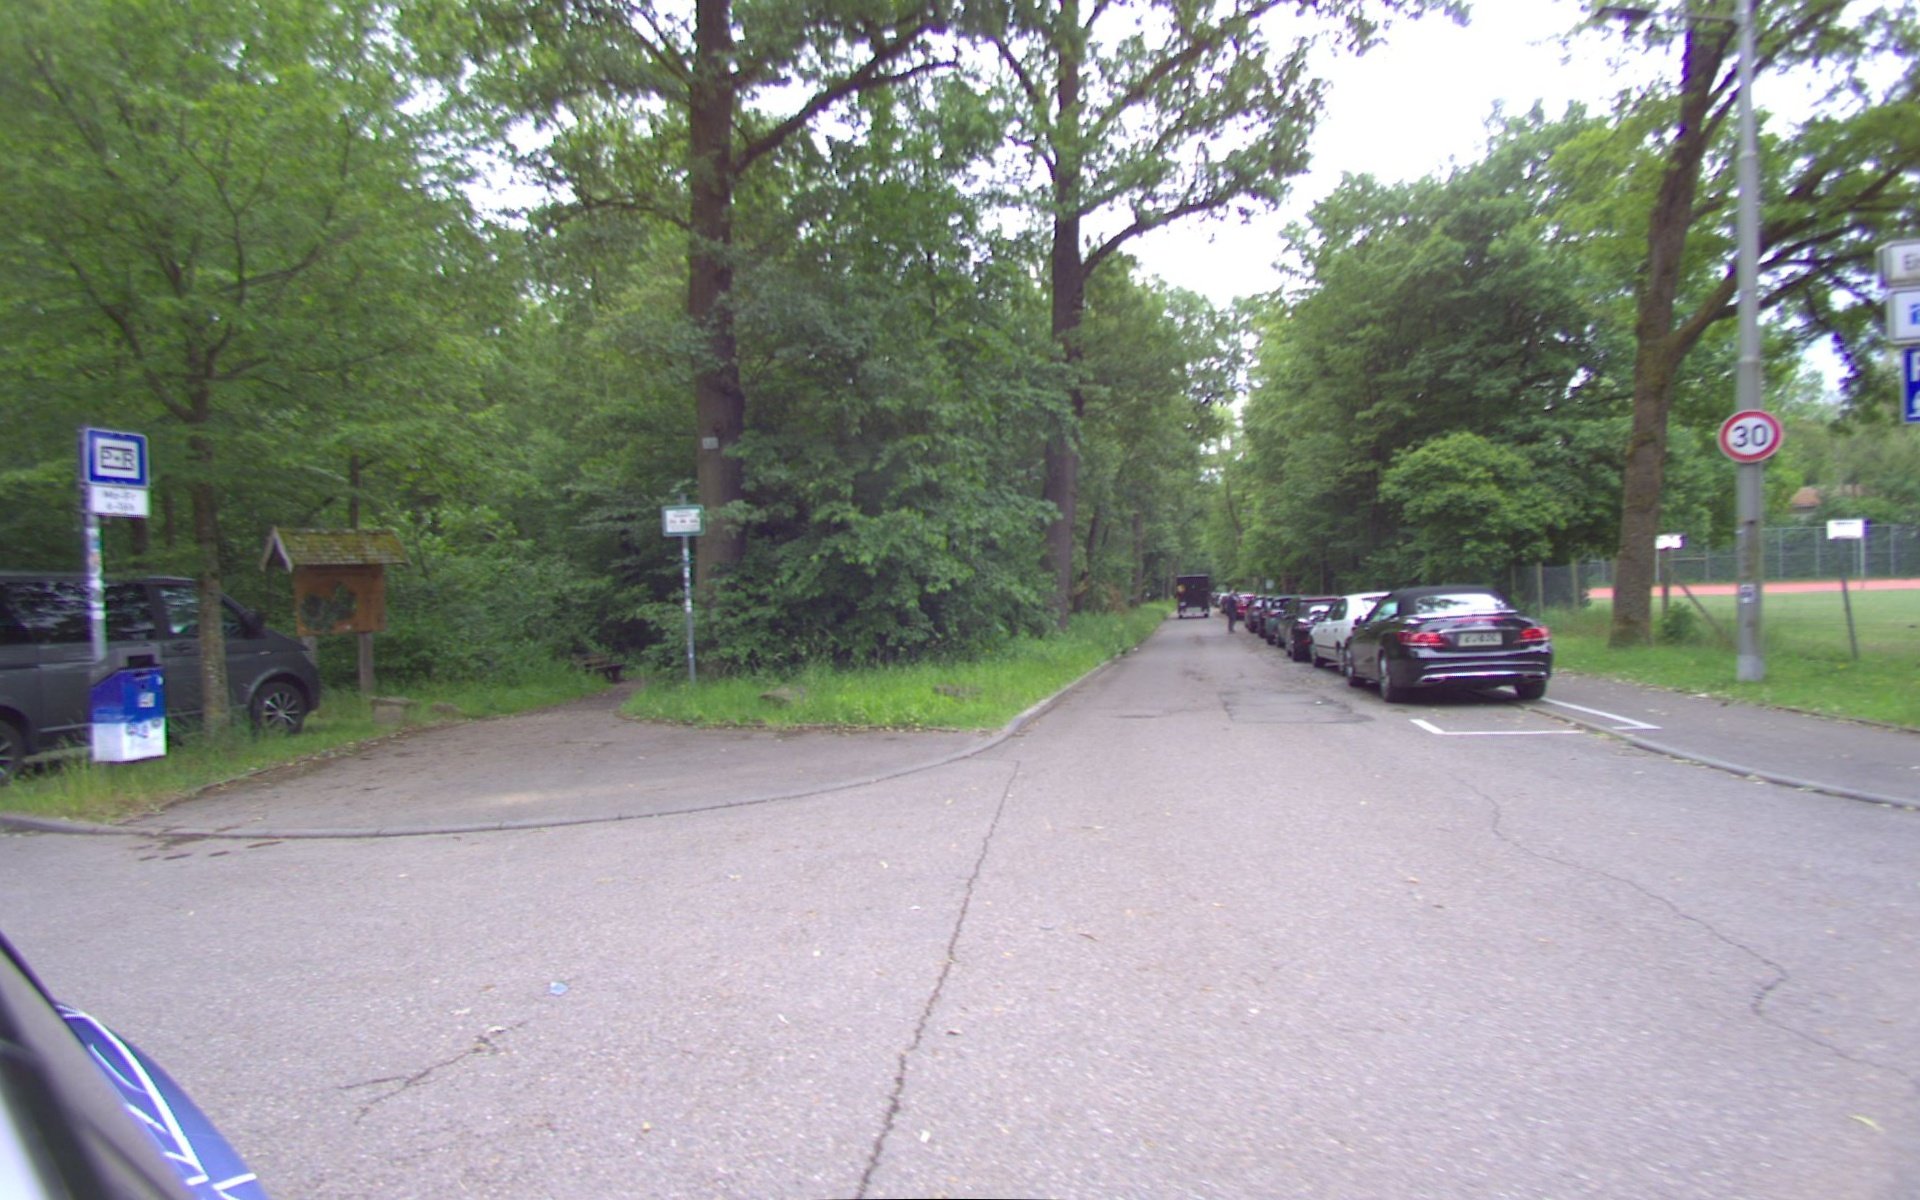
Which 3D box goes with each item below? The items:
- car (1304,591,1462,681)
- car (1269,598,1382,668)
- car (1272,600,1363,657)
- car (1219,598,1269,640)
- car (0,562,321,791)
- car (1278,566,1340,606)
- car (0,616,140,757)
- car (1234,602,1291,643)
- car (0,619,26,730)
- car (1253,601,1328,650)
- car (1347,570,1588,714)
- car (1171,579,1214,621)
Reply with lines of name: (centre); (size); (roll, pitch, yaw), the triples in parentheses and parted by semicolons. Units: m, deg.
car: (7.523, 0.632, 18.429); (1.673, 1.369, 4.207); (-3, -2, 10)
car: (8.170, 0.729, 22.930); (1.673, 1.369, 3.856); (-3, -2, 10)
car: (9.686, 0.763, 27.669); (1.673, 1.369, 3.619); (-3, -2, 10)
car: (11.884, 0.778, 42.504); (1.603, 1.604, 3.508); (-3, 0, 10)
car: (-9.068, 0.699, 10.099); (1.872, 1.993, 4.498); (-2, 0, 13)
car: (14.962, -0.598, 43.609); (1.937, 1.631, 3.628); (-1, 1, 10)
car: (-11.514, 1.002, 10.944); (1.791, 1.524, 3.811); (-2, 0, 13)
car: (11.173, 0.849, 37.586); (1.554, 1.369, 3.508); (-3, -2, 10)
car: (-13.835, 1.061, 11.861); (1.703, 1.440, 3.986); (-2, 1, 11)
car: (10.342, 0.799, 31.914); (1.673, 1.369, 3.619); (-3, -2, 10)
car: (6.372, 0.517, 13.266); (1.754, 1.506, 4.308); (-3, -2, 13)
car: (15.485, -0.043, 67.660); (2.554, 2.553, 4.918); (-3, 0, 11)
